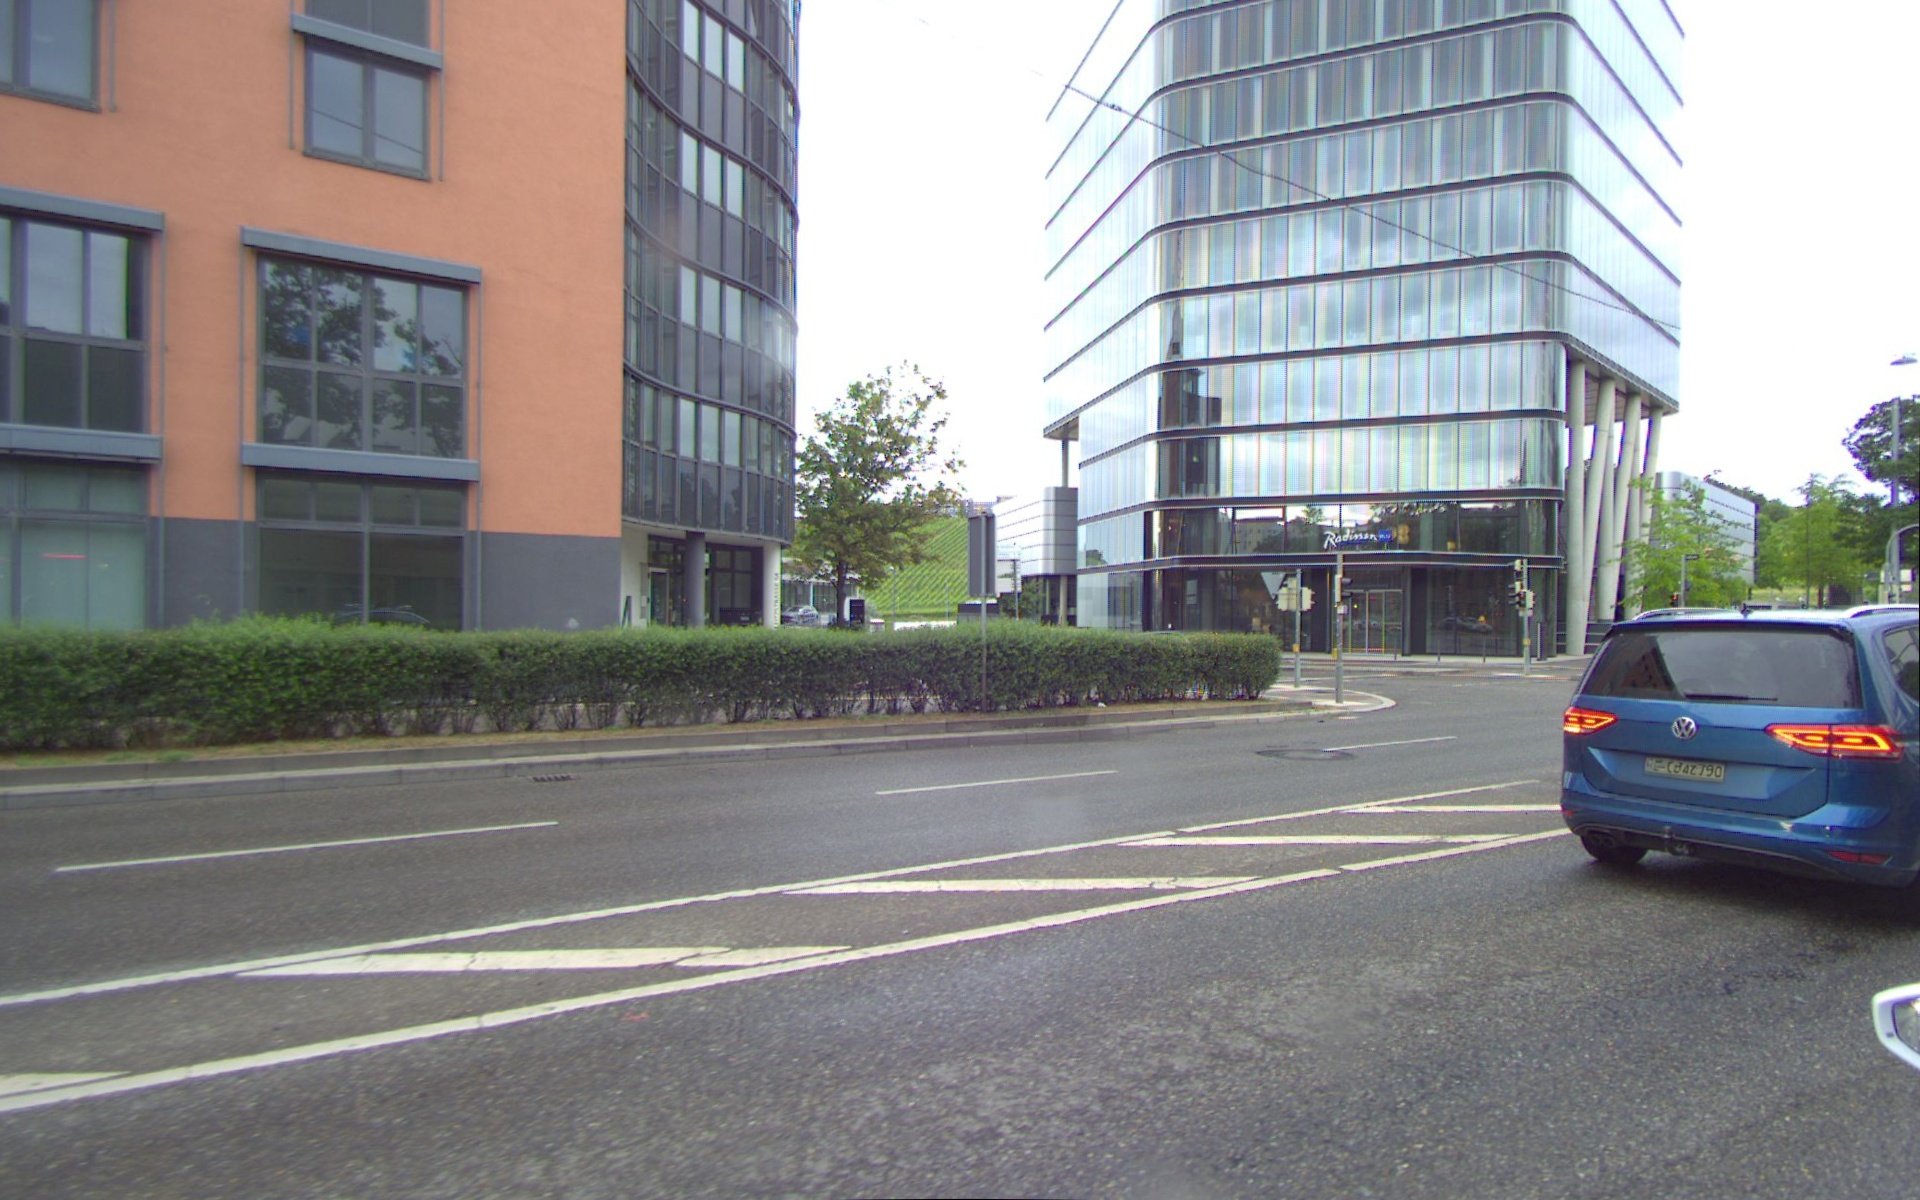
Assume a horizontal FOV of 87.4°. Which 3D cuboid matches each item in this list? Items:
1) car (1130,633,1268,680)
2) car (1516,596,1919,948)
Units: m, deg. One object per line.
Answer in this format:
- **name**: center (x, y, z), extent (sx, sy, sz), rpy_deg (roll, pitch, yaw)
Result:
- **car**: center (8.300, 1.925, 35.084), extent (4.307, 1.530, 1.848), rpy_deg (-2, -2, 40)
- **car**: center (5.650, 0.846, 6.415), extent (4.146, 1.617, 1.765), rpy_deg (1, -2, -29)
